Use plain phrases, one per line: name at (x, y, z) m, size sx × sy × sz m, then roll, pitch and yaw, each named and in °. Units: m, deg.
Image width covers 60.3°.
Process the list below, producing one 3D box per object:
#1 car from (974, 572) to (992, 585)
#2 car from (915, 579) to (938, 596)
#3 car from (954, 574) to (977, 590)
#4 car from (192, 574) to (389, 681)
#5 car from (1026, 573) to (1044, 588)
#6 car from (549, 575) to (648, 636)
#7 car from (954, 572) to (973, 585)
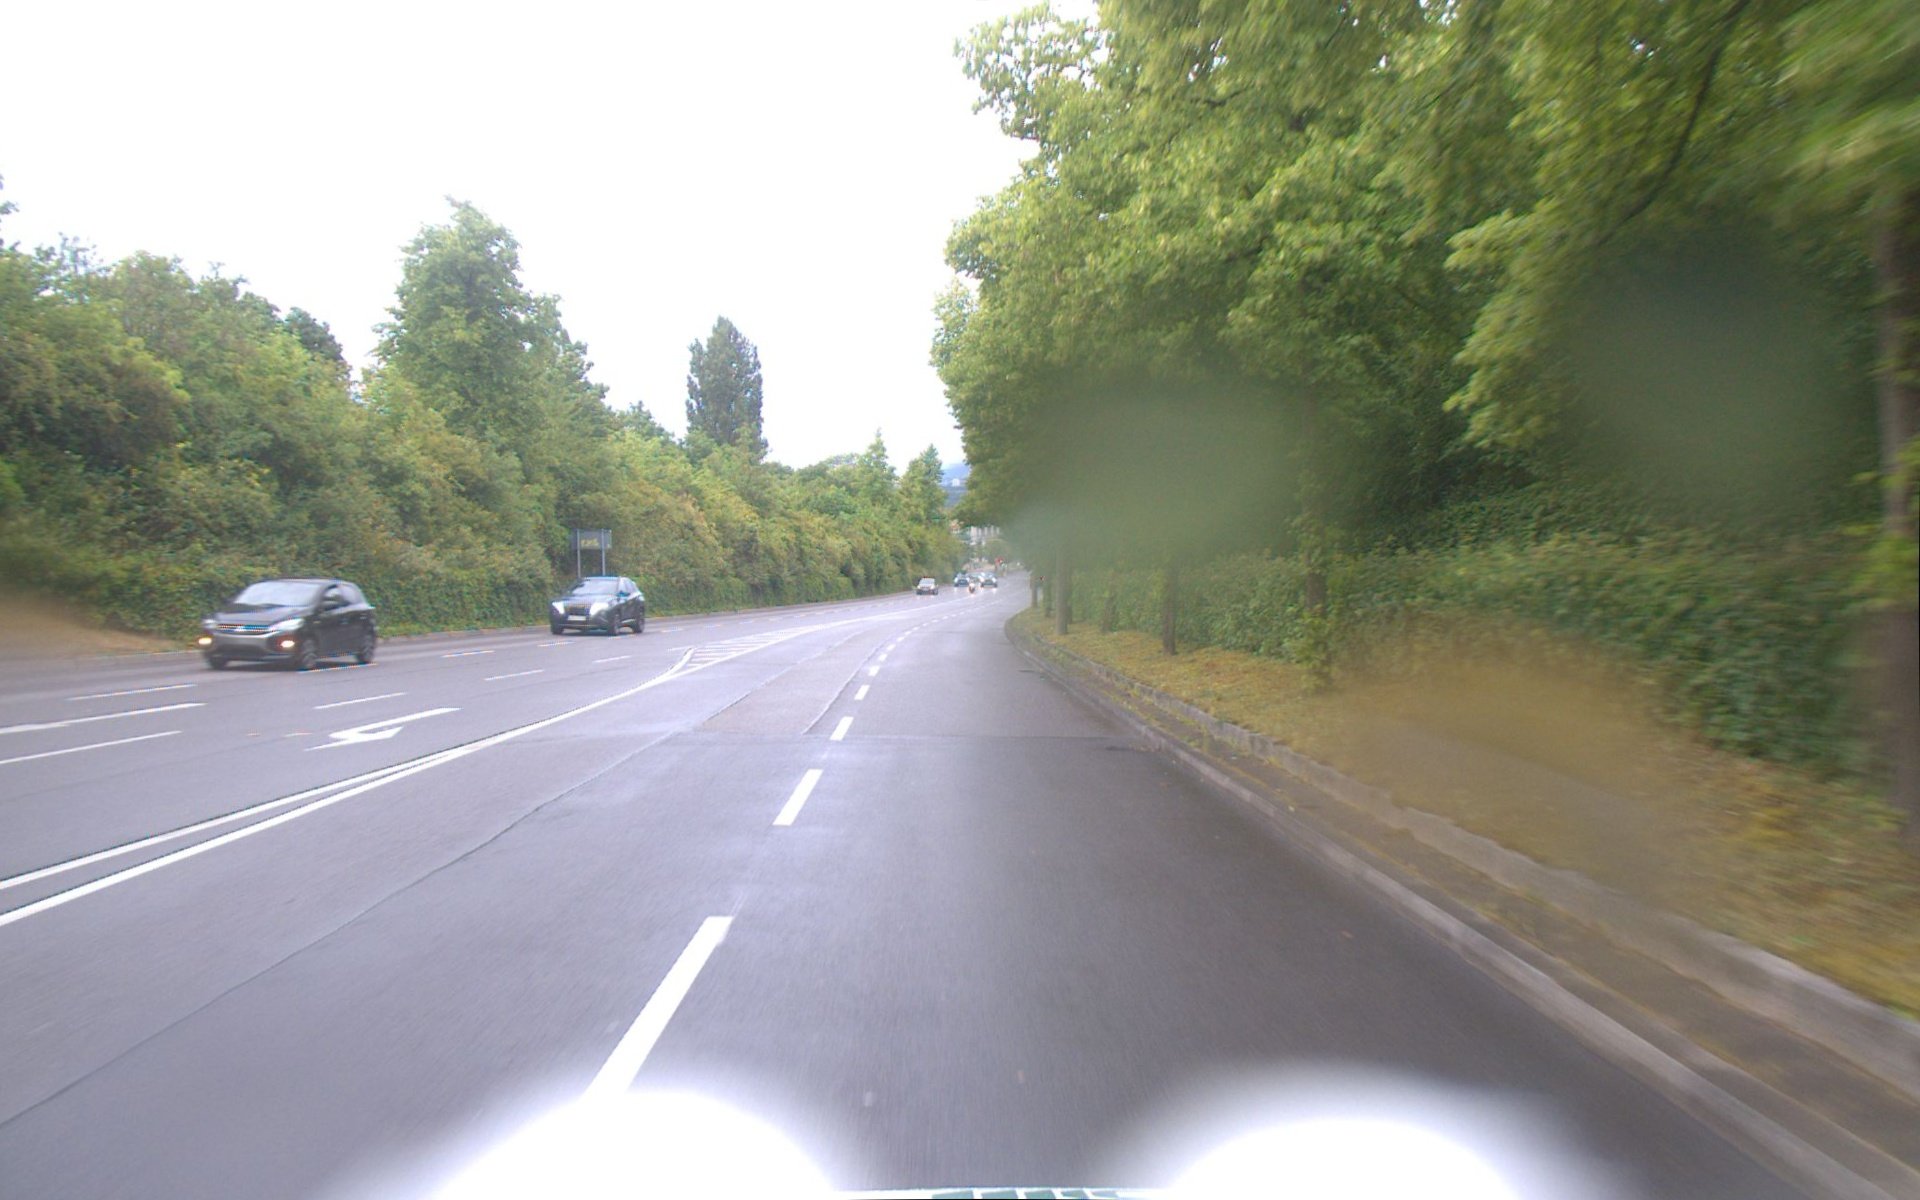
car at (2.799, -2.579, 197.347) m, size 1.825 × 1.490 × 3.895 m, roll 2°, pitch 1°, yaw 5°
car at (-2.968, -1.135, 148.111) m, size 1.826 × 1.490 × 3.894 m, roll 2°, pitch 1°, yaw 2°
car at (0.532, -1.742, 163.157) m, size 1.825 × 1.490 × 3.895 m, roll 2°, pitch 1°, yaw 6°
car at (-11.067, 0.396, 27.622) m, size 1.690 × 1.593 × 3.892 m, roll 2°, pitch 1°, yaw -1°
car at (8.847, -2.263, 194.055) m, size 1.904 × 1.618 × 3.931 m, roll 0°, pitch 2°, yaw 5°
car at (-10.249, 0.128, 47.129) m, size 1.826 × 1.617 × 3.894 m, roll 2°, pitch 1°, yaw 2°
car at (0.420, -2.568, 197.182) m, size 1.825 × 1.490 × 3.895 m, roll 2°, pitch 1°, yaw 5°
